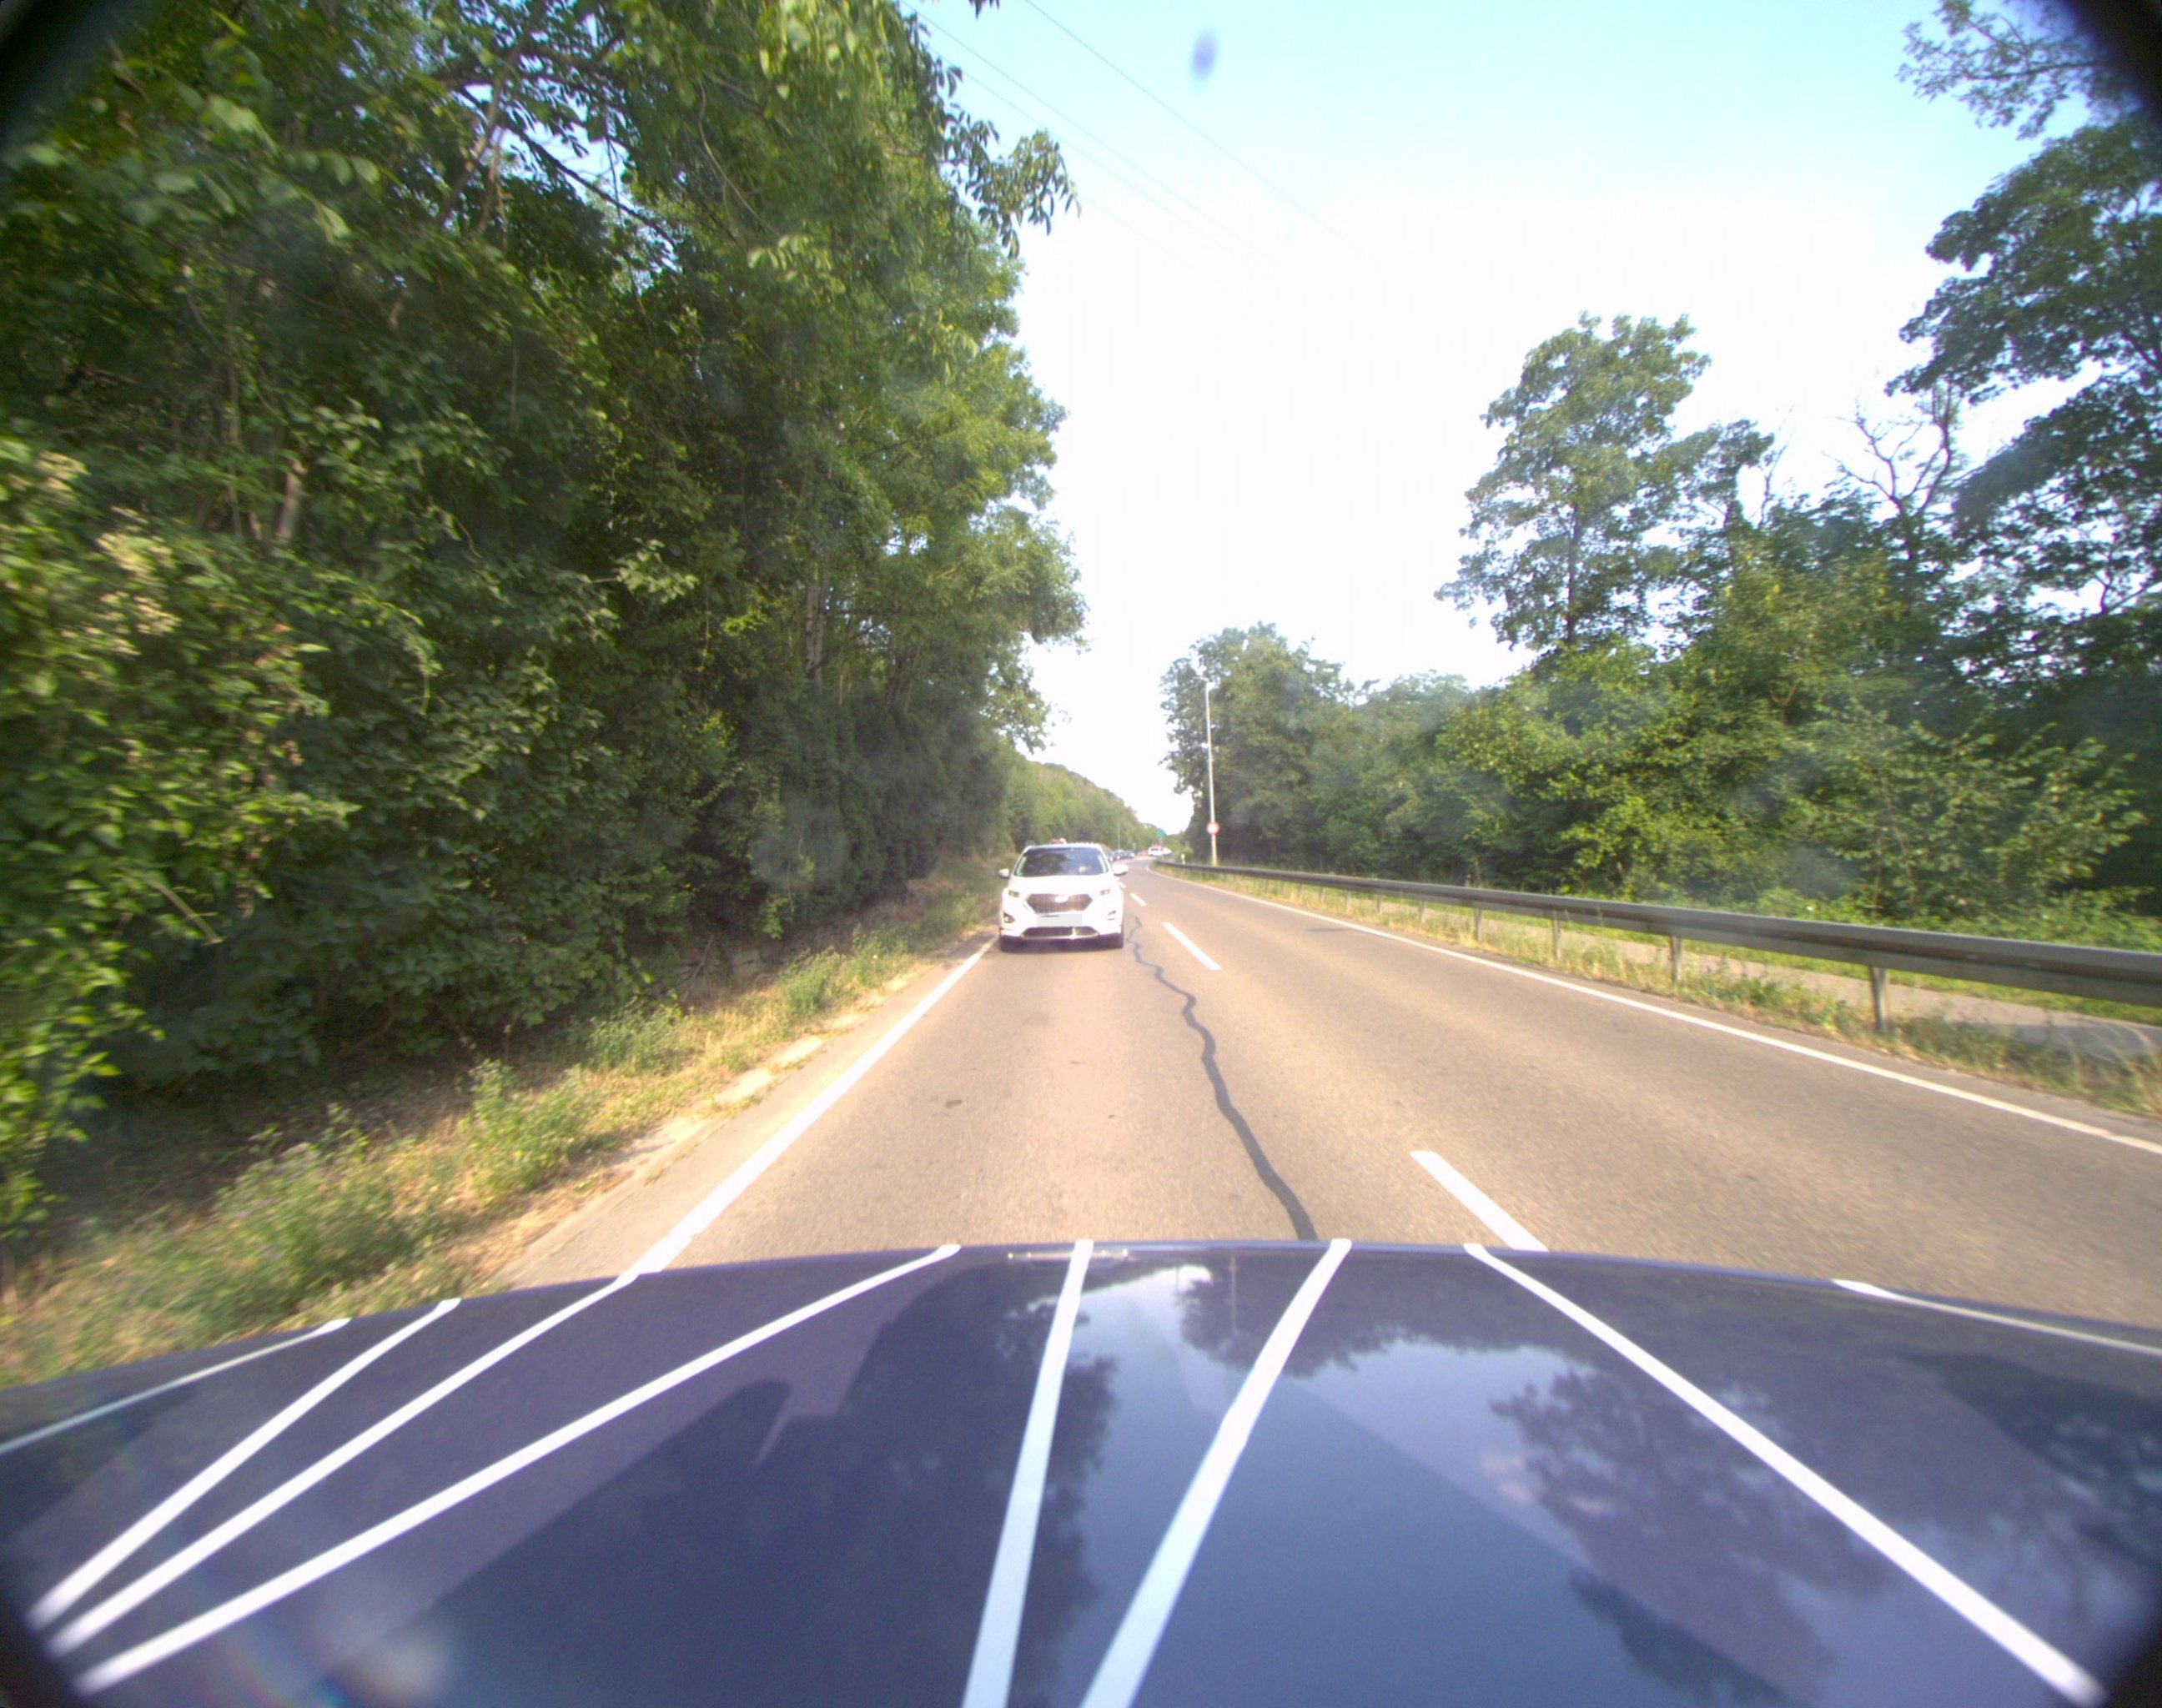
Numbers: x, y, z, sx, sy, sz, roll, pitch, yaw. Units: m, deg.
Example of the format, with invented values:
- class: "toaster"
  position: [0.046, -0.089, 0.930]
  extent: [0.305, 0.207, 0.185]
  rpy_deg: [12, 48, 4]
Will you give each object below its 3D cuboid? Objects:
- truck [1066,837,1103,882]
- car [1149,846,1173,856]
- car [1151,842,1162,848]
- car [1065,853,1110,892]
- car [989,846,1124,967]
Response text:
- class: "truck"
  position: [0.227, 0.281, 42.968]
  extent: [1.894, 2.334, 5.273]
  rpy_deg: [-2, 0, 1]
- class: "car"
  position: [16.522, -0.653, 157.916]
  extent: [4.514, 2.002, 2.004]
  rpy_deg: [-1, 1, 35]
- class: "car"
  position: [20.077, -2.399, 201.192]
  extent: [1.996, 1.697, 4.004]
  rpy_deg: [-2, 1, 17]
- class: "car"
  position: [0.275, 0.728, 31.996]
  extent: [1.704, 1.477, 4.136]
  rpy_deg: [-2, 0, 1]
- class: "car"
  position: [-0.326, 0.745, 12.983]
  extent: [1.894, 1.691, 4.136]
  rpy_deg: [-2, 0, 1]
